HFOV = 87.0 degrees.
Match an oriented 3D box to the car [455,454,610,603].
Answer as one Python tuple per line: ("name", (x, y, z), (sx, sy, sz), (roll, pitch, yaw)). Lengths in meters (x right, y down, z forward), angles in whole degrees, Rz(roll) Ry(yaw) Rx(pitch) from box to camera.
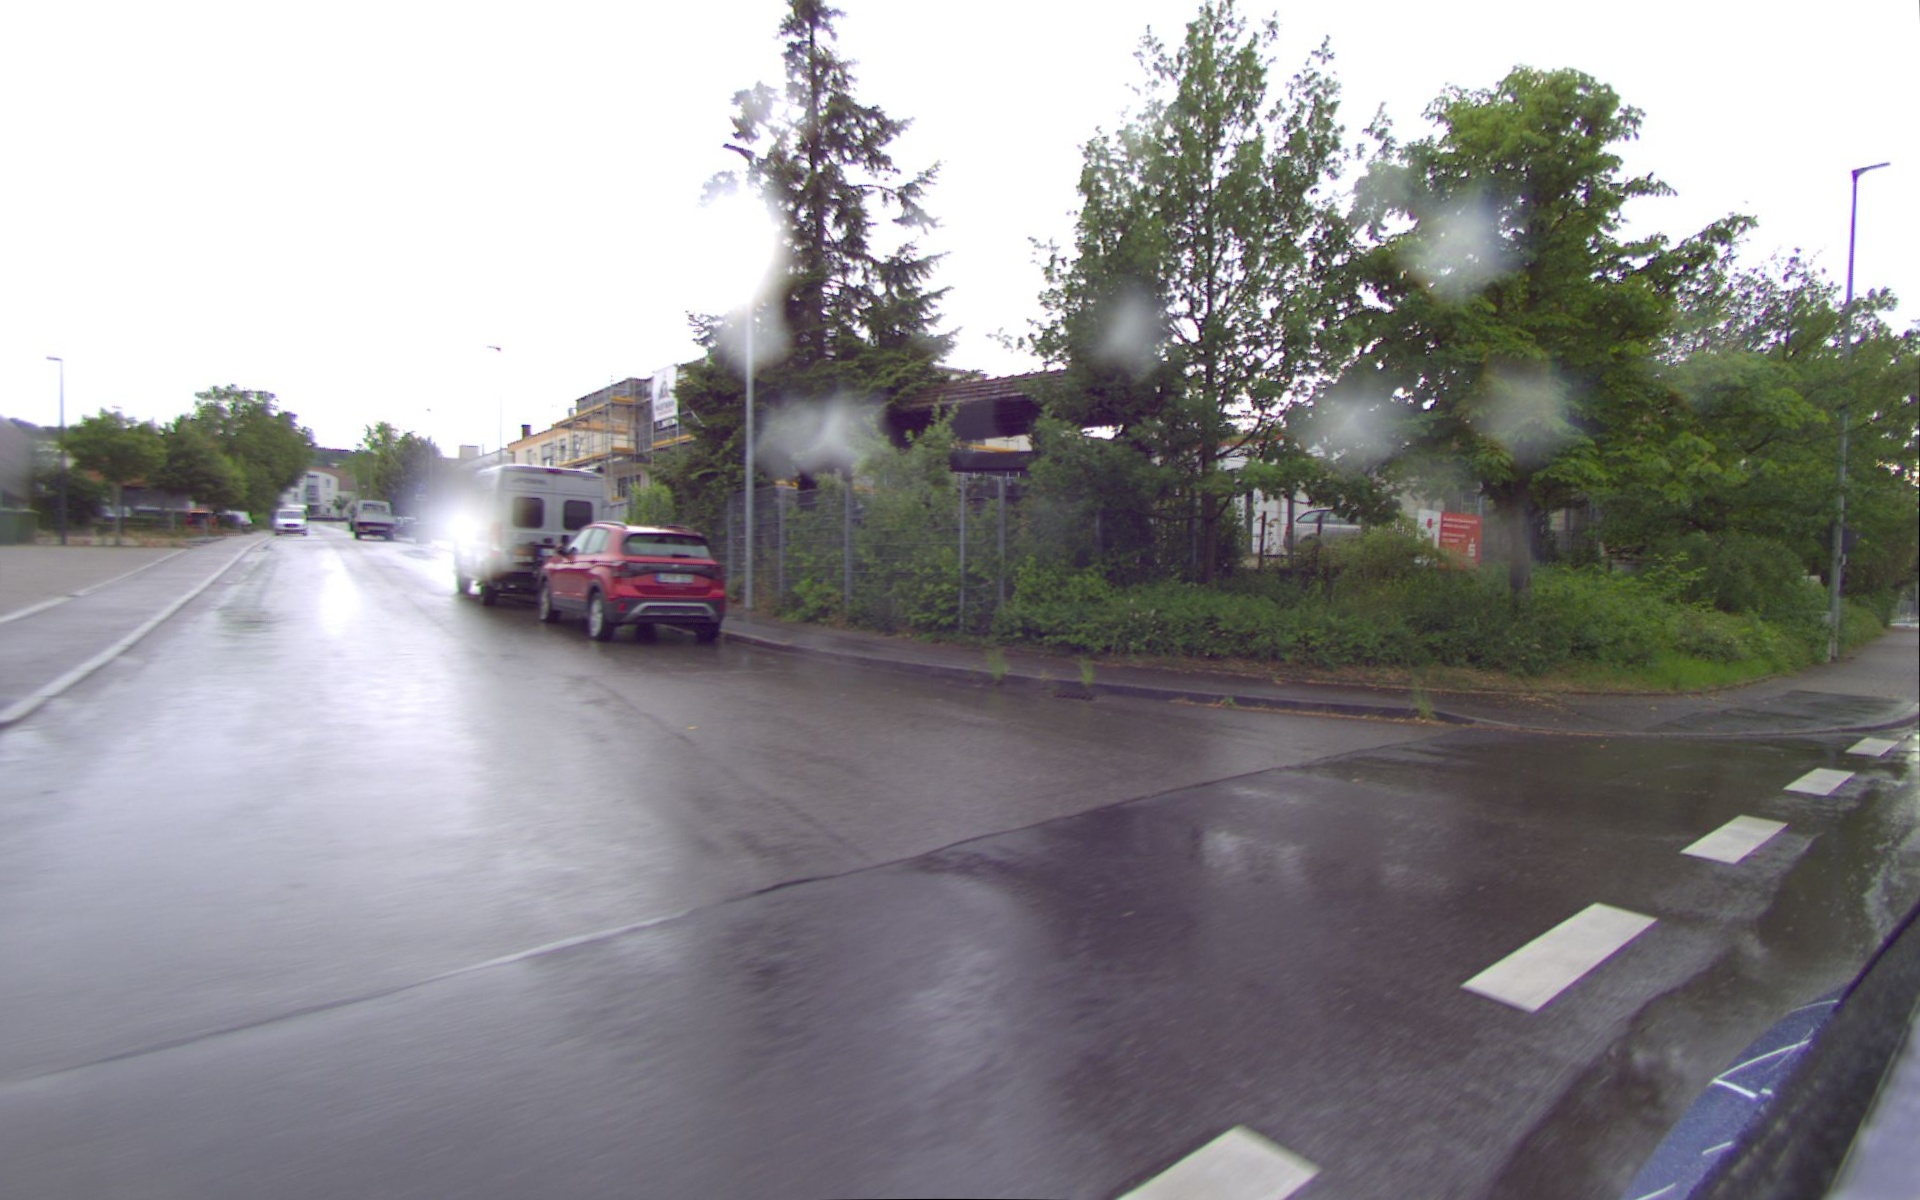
("car", (-8.380, -1.413, 19.546), (1.961, 2.466, 4.926), (1, 5, -32))

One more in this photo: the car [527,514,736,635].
("car", (-4.915, -0.444, 14.797), (1.735, 1.517, 3.894), (1, 3, -36))

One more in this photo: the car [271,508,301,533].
("car", (-47.809, -5.619, 71.727), (1.607, 1.438, 3.999), (1, 0, -36))

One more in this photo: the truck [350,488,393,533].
("truck", (-36.812, -5.540, 63.232), (2.127, 2.267, 5.886), (1, 0, -32))
